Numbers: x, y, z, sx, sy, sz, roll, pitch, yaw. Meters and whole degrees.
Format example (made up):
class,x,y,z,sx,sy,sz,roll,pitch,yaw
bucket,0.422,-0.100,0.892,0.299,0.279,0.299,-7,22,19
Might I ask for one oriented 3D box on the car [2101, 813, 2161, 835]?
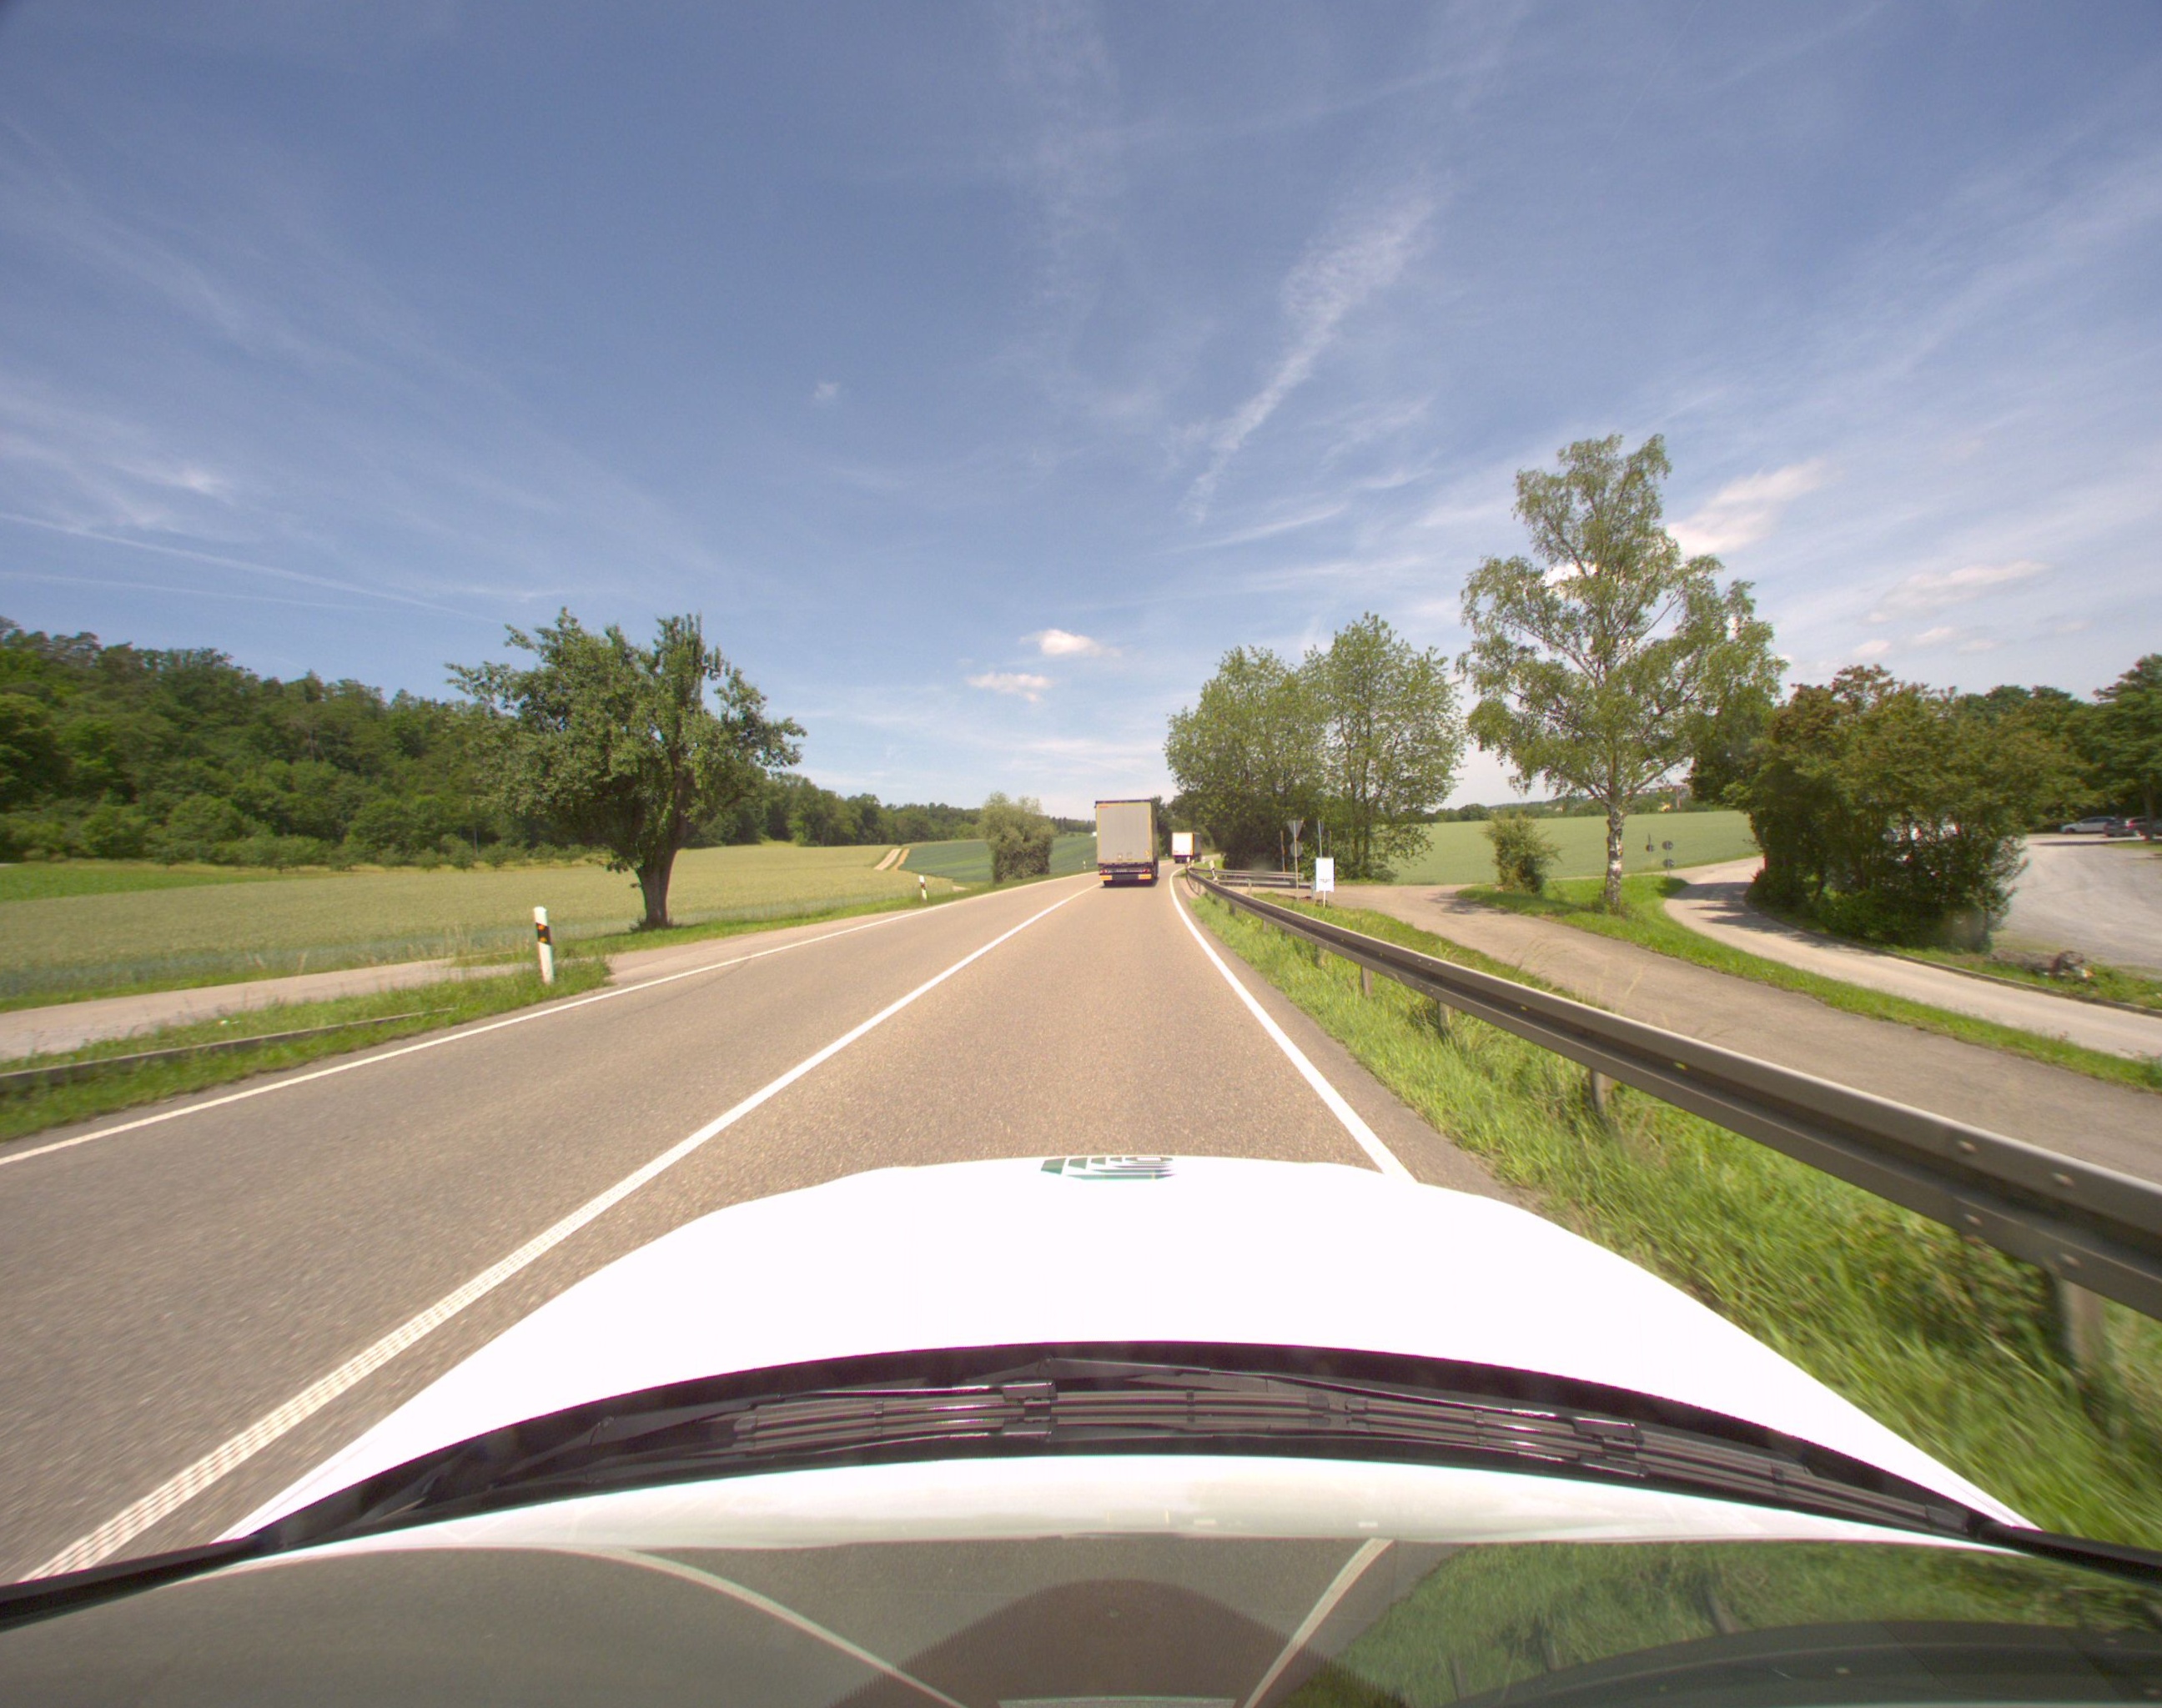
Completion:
class,x,y,z,sx,sy,sz,roll,pitch,yaw
car,85.482,-2.409,64.970,1.988,1.703,4.933,-2,1,-1

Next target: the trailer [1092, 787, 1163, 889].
class,x,y,z,sx,sy,sz,roll,pitch,yaw
trailer,2.639,-0.725,43.625,3.104,4.500,13.903,-1,0,4

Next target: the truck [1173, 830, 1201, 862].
class,x,y,z,sx,sy,sz,roll,pitch,yaw
truck,15.176,-1.142,116.148,3.343,4.316,6.762,-2,0,11

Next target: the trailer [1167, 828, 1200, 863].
class,x,y,z,sx,sy,sz,roll,pitch,yaw
trailer,14.026,-1.084,110.041,3.343,4.316,13.907,-2,0,11

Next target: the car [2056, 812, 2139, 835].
class,x,y,z,sx,sy,sz,roll,pitch,yaw
car,88.661,-2.664,71.113,1.995,1.542,3.983,-6,-1,-12

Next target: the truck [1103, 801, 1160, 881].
class,x,y,z,sx,sy,sz,roll,pitch,yaw
truck,3.141,-0.736,49.550,3.104,4.494,6.820,-1,0,5
